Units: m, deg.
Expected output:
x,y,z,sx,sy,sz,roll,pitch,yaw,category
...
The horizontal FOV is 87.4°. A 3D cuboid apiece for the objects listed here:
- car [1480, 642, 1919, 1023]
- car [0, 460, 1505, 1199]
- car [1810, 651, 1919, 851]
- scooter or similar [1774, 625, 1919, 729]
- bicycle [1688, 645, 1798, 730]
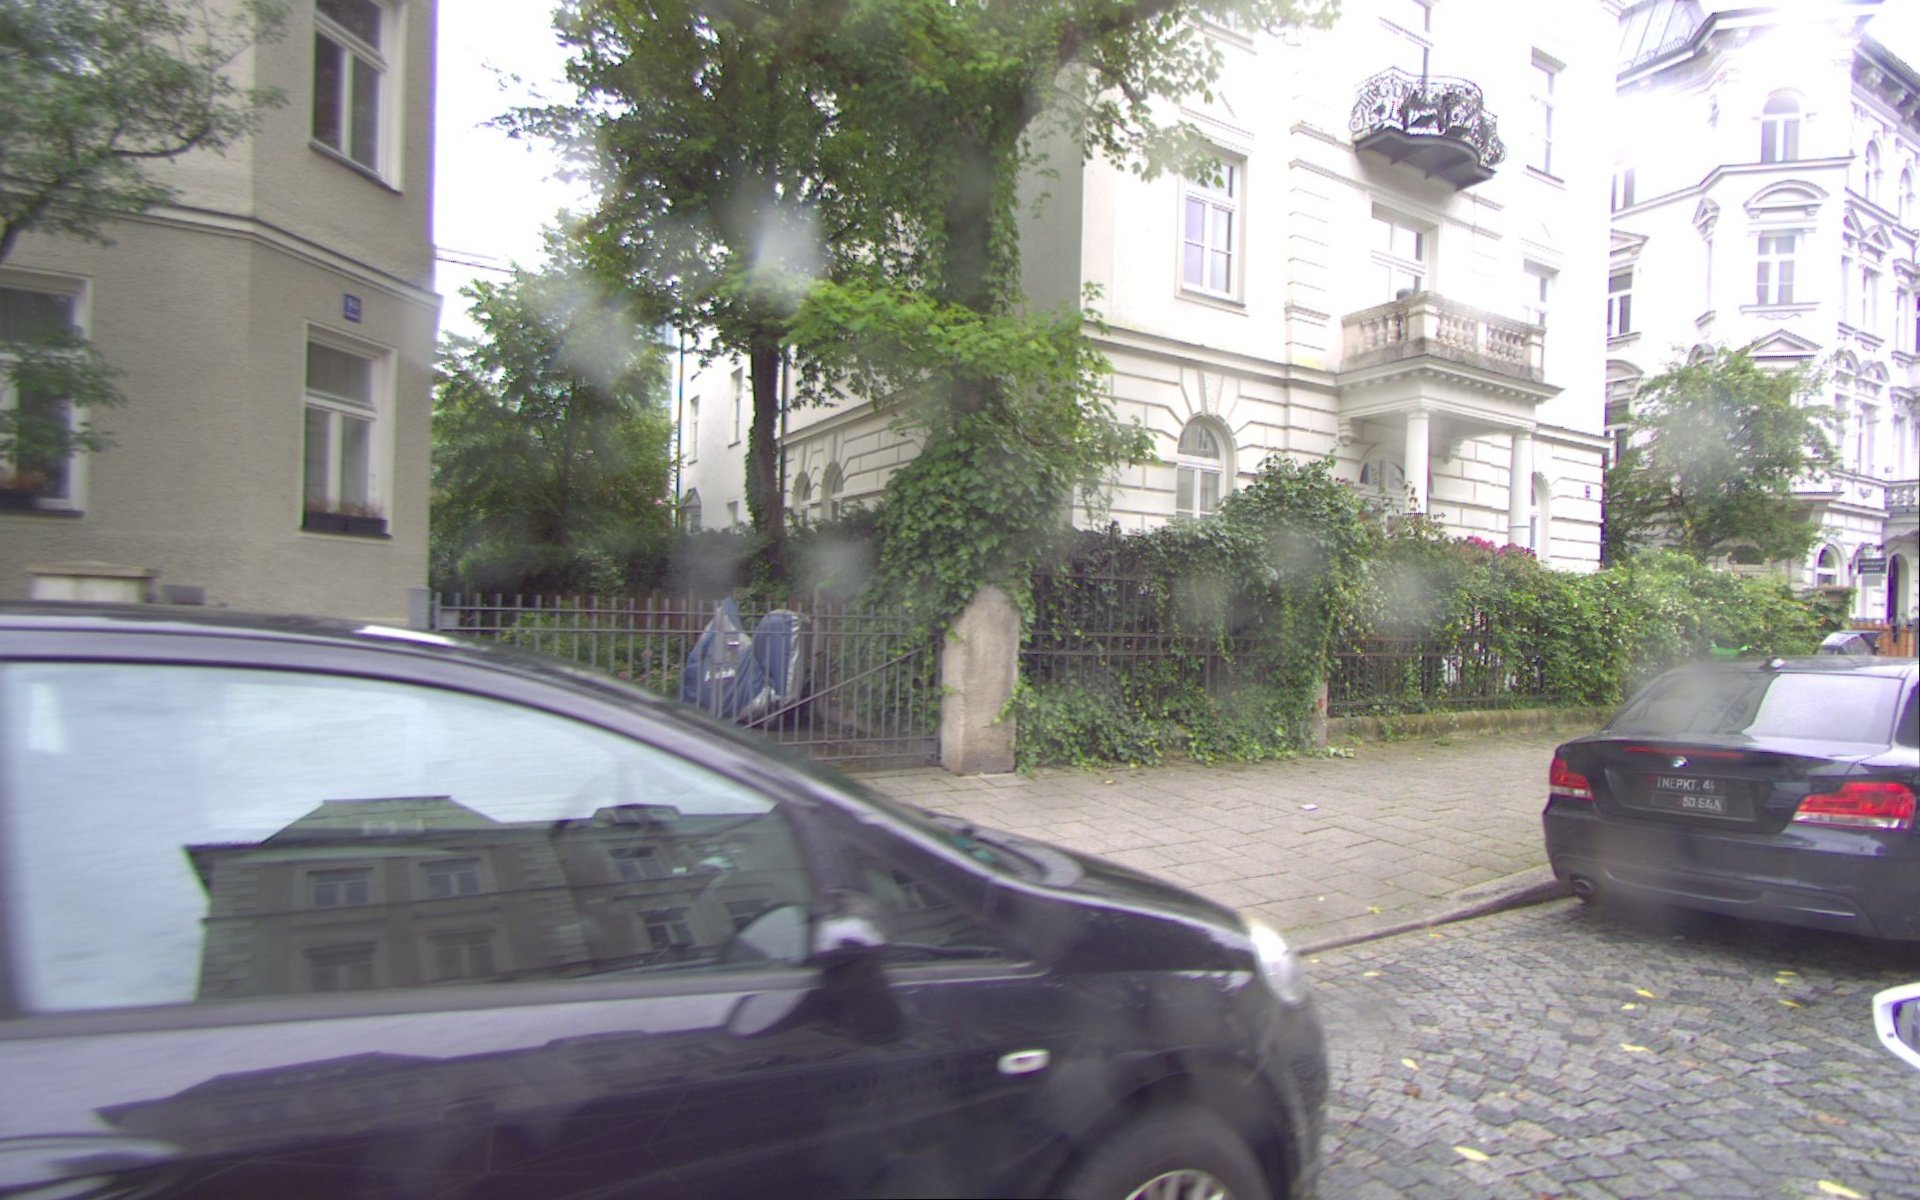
x,y,z,sx,sy,sz,roll,pitch,yaw,category
5.094,0.974,5.689,4.446,1.436,1.774,2,-3,-32,car
-0.890,0.624,1.912,4.127,1.463,1.652,2,-1,-33,car
8.950,1.123,8.037,4.354,1.436,1.879,2,-3,-29,car
13.819,1.159,15.619,2.626,1.461,0.936,2,1,-32,scooter or similar
11.371,1.246,14.563,2.028,1.137,0.573,2,0,-32,bicycle
